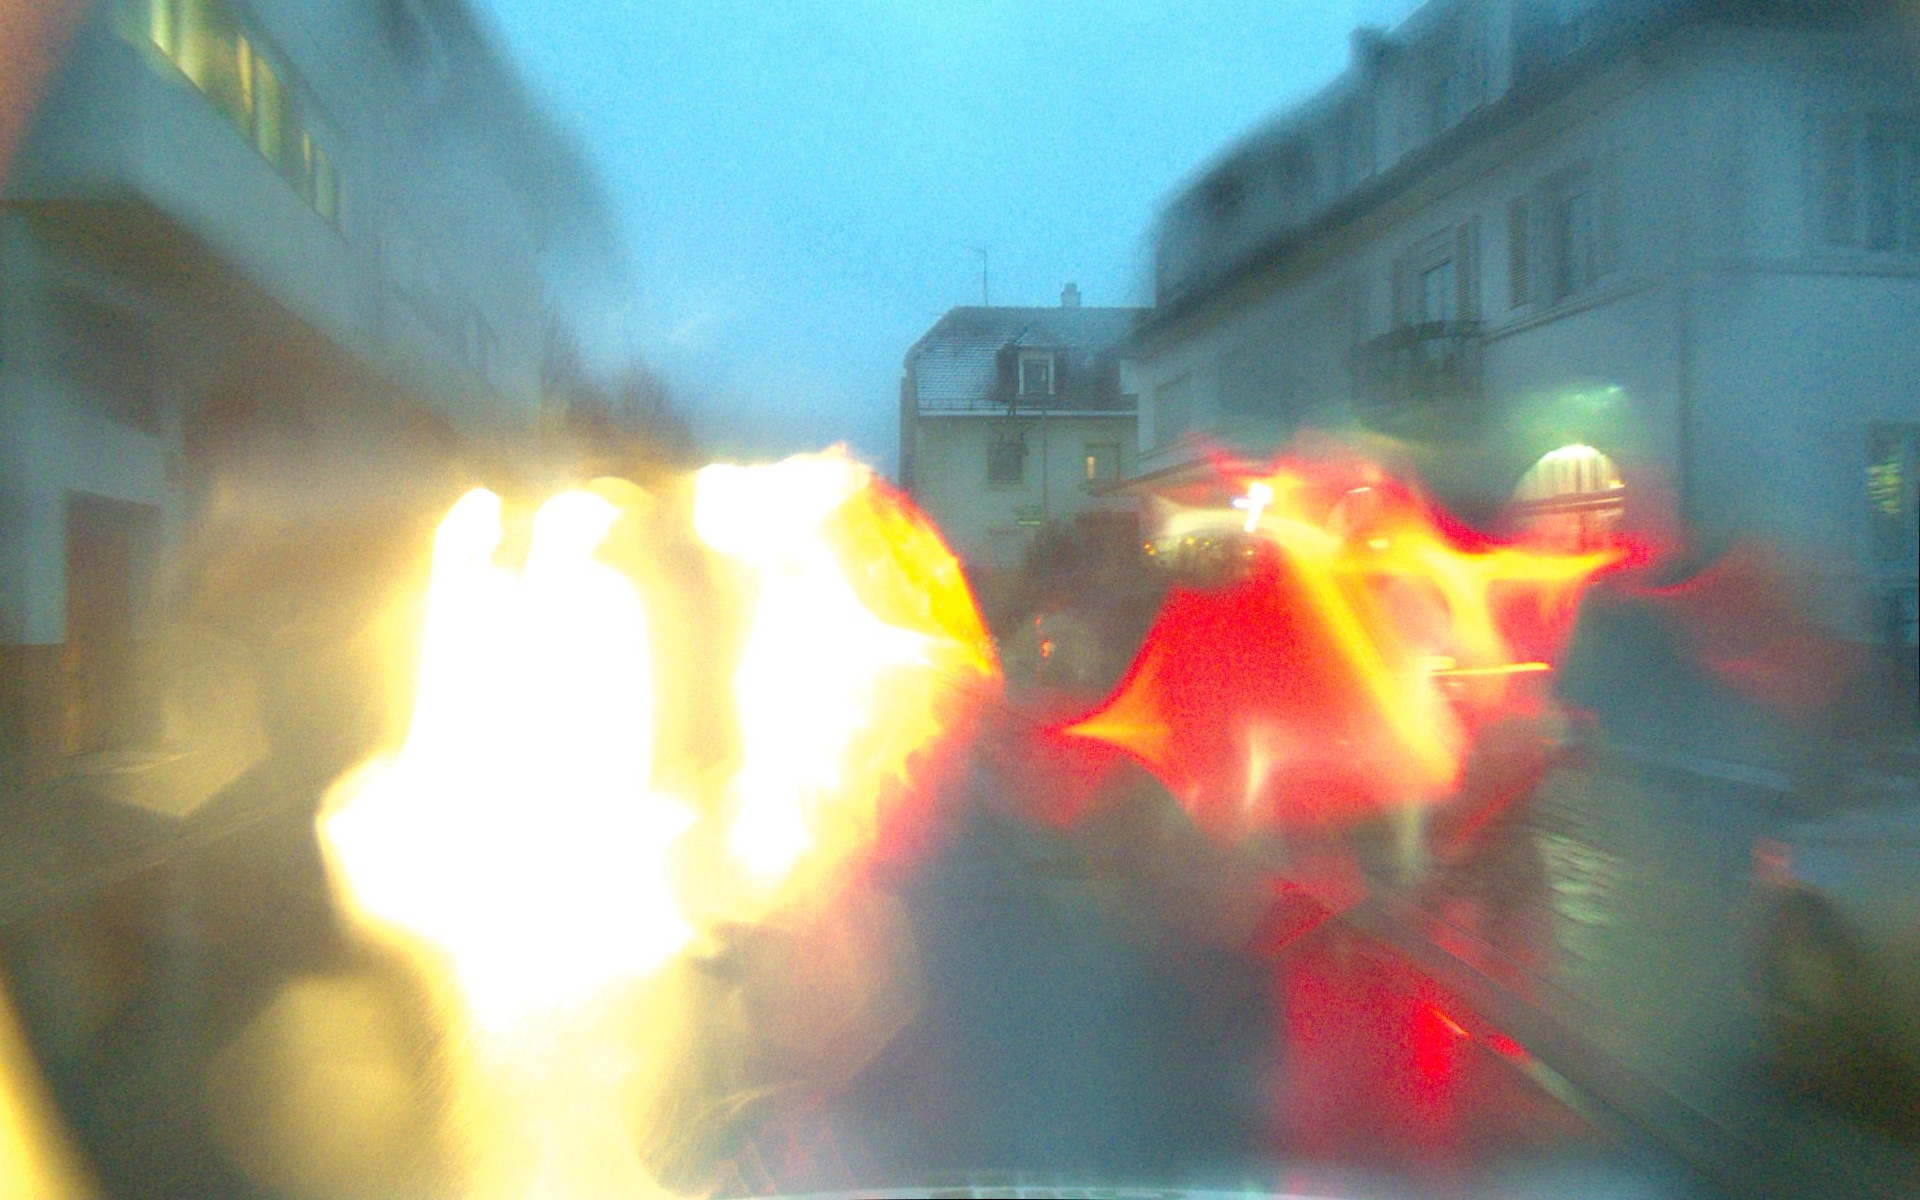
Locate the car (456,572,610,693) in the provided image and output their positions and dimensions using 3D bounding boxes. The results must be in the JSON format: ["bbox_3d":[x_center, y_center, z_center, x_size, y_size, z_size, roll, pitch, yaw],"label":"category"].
[{"bbox_3d":[-6.359,0.429,24.990,1.760,1.671,3.806,1,1,-8],"label":"car"}]

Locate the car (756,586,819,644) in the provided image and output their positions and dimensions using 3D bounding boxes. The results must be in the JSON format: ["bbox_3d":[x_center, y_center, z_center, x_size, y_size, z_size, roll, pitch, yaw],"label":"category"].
[{"bbox_3d":[-4.759,0.389,45.343,1.607,1.507,3.266,1,1,-7],"label":"car"}]

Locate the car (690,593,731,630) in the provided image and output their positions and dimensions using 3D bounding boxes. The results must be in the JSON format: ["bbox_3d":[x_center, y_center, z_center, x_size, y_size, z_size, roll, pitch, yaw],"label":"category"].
[{"bbox_3d":[-10.971,0.496,72.862,1.606,1.562,3.402,0,0,-6],"label":"car"}]

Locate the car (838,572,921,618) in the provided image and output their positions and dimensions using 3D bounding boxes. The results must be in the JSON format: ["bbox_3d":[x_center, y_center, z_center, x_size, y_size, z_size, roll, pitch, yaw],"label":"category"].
[{"bbox_3d":[-3.941,-0.265,81.608,4.014,2.200,1.913,0,0,-1],"label":"car"}]

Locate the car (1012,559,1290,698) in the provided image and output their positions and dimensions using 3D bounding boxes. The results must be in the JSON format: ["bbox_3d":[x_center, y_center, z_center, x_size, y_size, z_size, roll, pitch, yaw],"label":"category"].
[{"bbox_3d":[2.615,0.361,22.964,3.444,1.710,1.710,-2,1,-13],"label":"car"}]

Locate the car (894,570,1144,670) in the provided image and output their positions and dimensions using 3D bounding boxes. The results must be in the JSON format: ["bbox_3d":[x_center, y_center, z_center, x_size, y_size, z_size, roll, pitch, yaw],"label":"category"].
[{"bbox_3d":[1.109,0.352,32.052,4.523,1.807,1.939,-1,1,-12],"label":"car"}]

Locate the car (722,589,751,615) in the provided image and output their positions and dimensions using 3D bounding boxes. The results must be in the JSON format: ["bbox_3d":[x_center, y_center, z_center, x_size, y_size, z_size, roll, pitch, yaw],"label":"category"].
[{"bbox_3d":[-14.450,0.126,106.805,1.777,1.624,4.391,0,1,-8],"label":"car"}]

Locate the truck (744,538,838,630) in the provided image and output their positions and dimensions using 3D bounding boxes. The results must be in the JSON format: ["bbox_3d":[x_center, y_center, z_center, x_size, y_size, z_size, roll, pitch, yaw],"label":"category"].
[{"bbox_3d":[-6.426,-0.598,61.858,2.960,3.183,7.981,1,0,-10],"label":"truck"}]

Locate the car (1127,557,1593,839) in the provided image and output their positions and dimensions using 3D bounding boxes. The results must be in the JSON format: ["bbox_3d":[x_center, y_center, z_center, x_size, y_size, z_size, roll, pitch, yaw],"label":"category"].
[{"bbox_3d":[2.562,0.534,11.898,1.846,1.574,4.666,-1,1,-5],"label":"car"}]

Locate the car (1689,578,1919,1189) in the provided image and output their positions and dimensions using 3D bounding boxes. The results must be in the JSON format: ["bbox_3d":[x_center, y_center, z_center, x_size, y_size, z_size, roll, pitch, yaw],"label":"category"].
[{"bbox_3d":[3.263,0.680,2.925,1.758,1.486,4.528,-2,0,-3],"label":"car"}]

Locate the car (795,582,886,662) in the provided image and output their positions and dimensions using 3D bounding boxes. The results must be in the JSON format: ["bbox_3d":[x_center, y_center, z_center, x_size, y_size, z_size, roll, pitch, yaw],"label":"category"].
[{"bbox_3d":[-2.465,0.424,33.516,1.607,1.507,3.373,1,0,-8],"label":"car"}]

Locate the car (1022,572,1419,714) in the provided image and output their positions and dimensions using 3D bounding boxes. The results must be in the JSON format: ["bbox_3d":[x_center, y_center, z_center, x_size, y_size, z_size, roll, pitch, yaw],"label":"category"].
[{"bbox_3d":[3.099,0.476,20.094,4.384,1.499,1.894,-2,1,-9],"label":"car"}]
